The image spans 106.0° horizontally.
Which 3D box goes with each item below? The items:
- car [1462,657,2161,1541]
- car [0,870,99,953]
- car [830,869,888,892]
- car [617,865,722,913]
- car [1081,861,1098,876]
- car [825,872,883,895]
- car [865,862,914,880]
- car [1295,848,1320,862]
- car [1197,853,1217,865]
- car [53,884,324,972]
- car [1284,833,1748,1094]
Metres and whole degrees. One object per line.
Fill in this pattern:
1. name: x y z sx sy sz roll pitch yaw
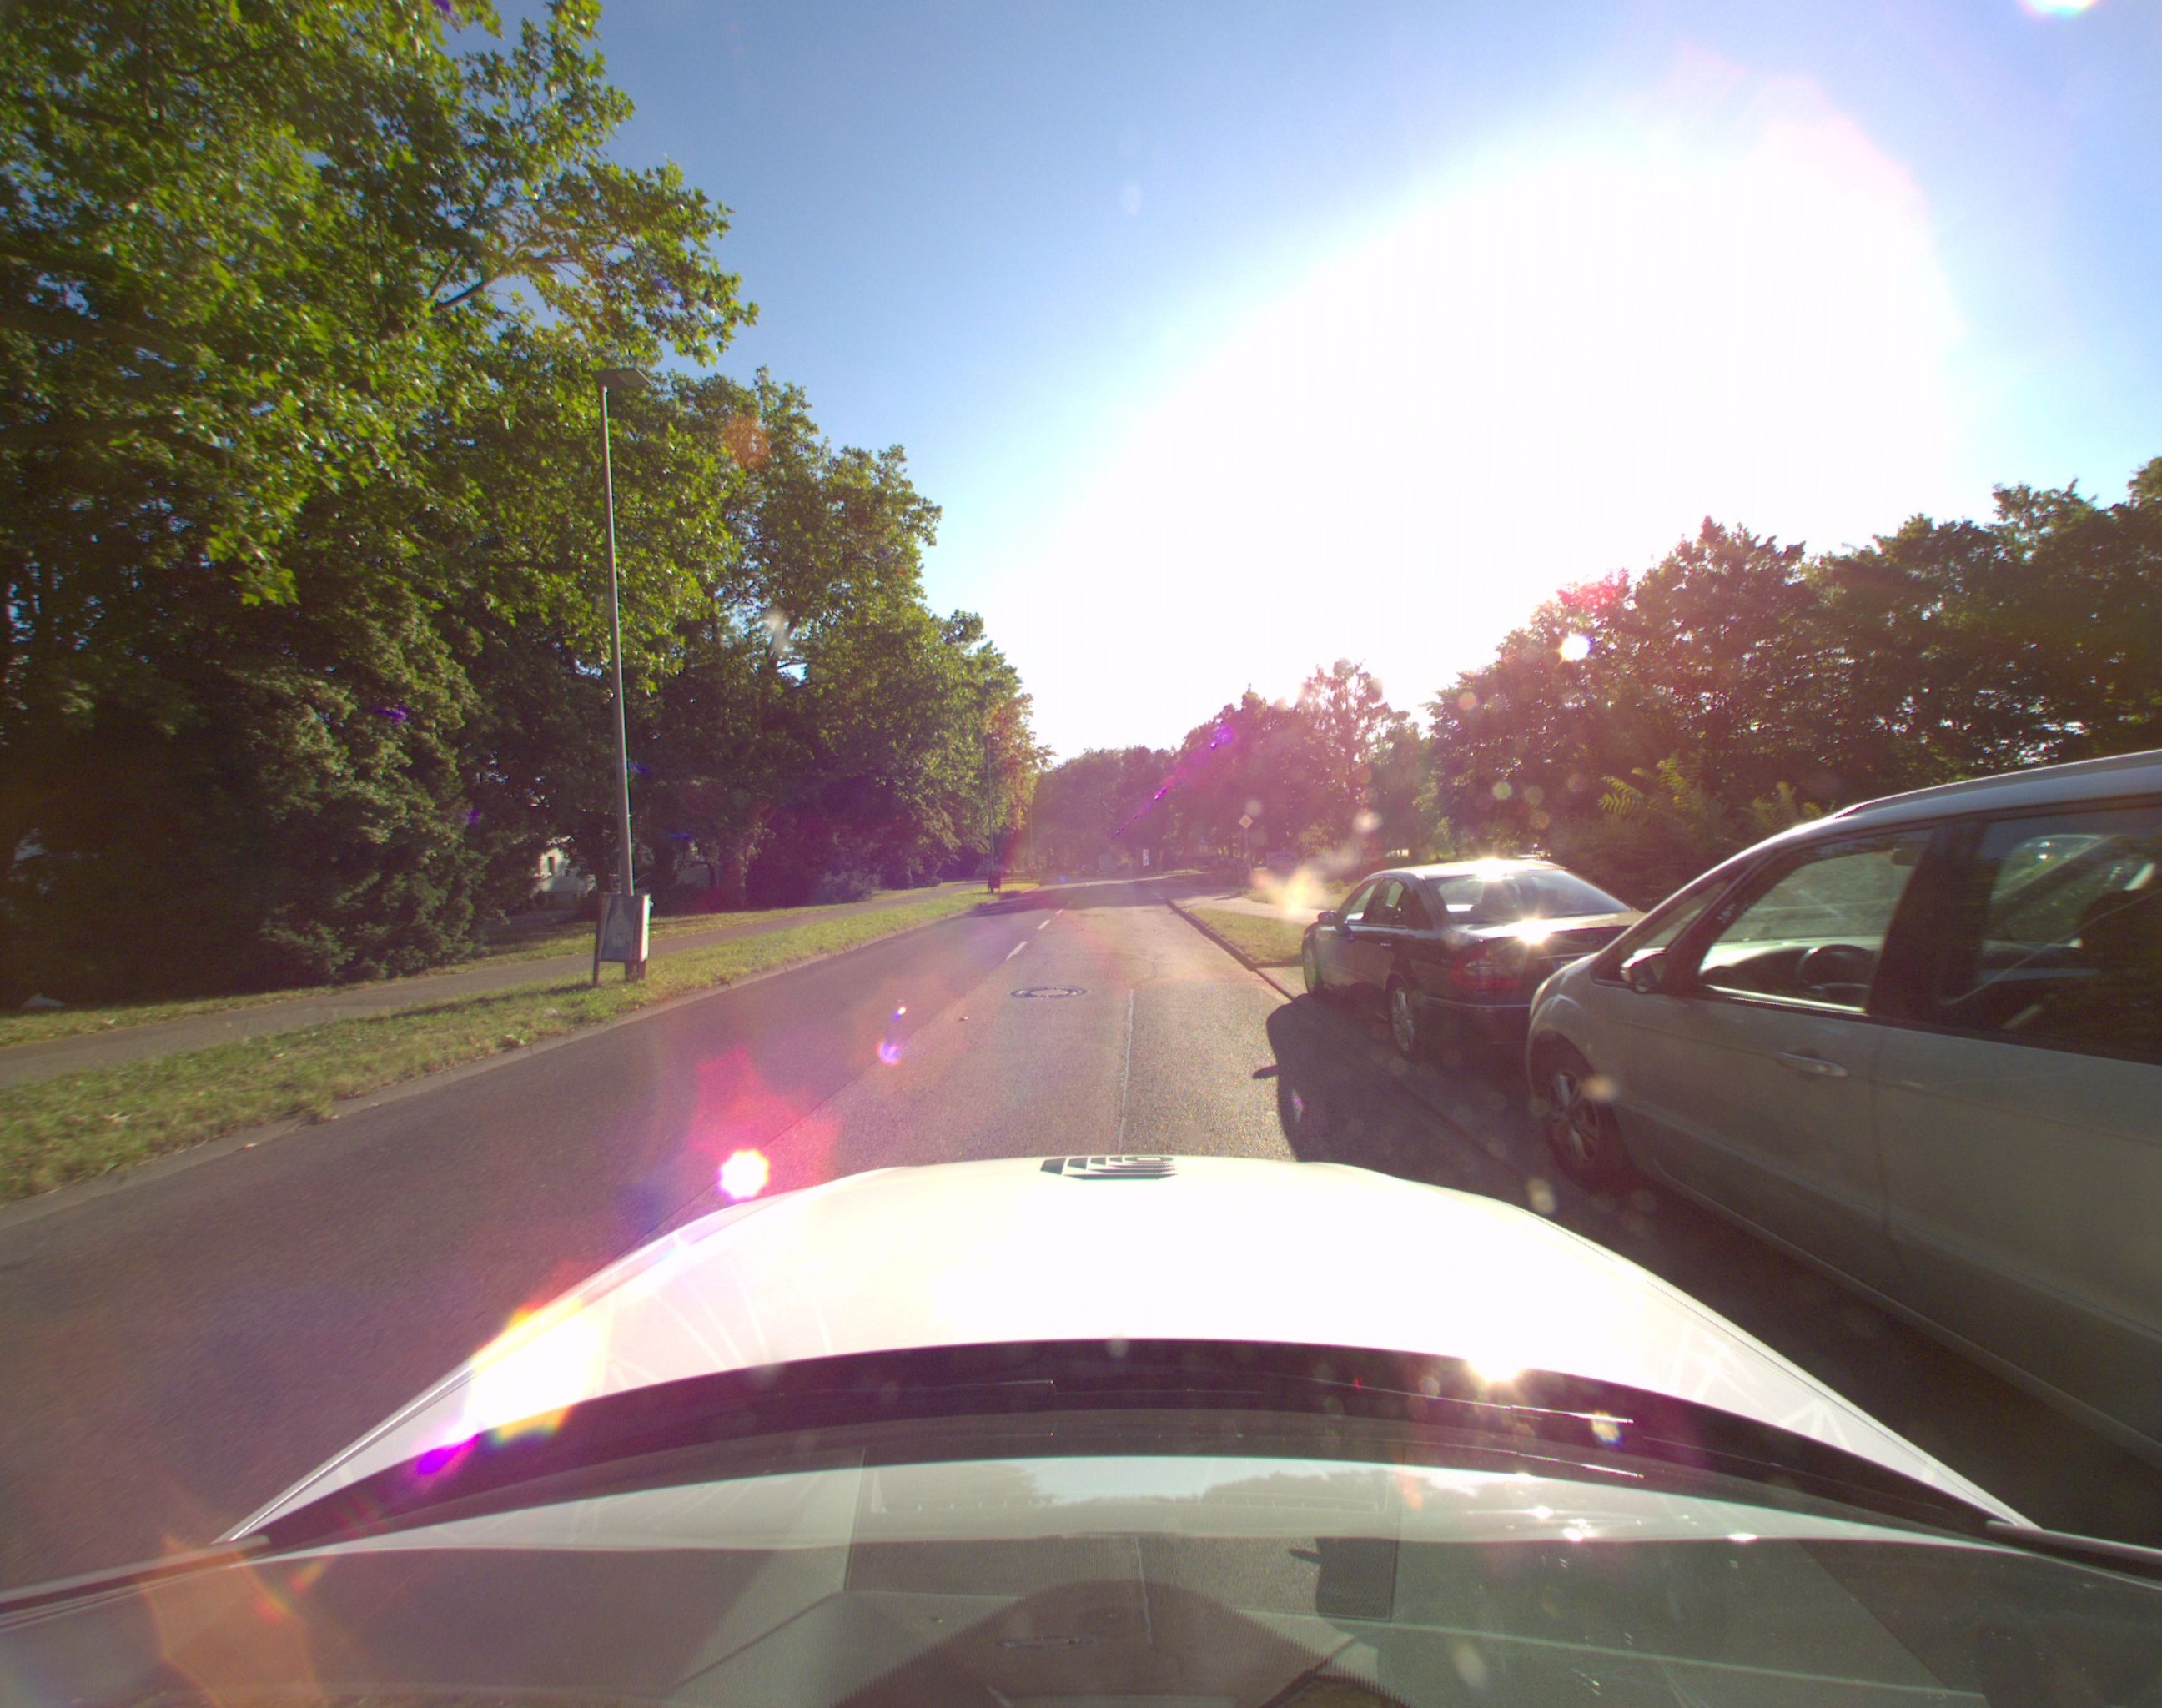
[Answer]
1. car: 3.139 0.455 2.208 1.986 1.759 4.919 -3 -1 2
2. car: -32.135 1.722 23.867 4.299 2.289 2.001 -2 -1 1
3. car: -17.537 2.096 64.395 4.120 1.596 1.949 -3 -1 -7
4. car: -19.589 1.626 38.905 3.983 2.044 1.904 -2 1 -7
5. car: 1.033 1.691 95.182 1.832 1.605 3.865 -3 0 2
6. car: -16.478 2.137 59.304 3.718 1.500 1.812 -2 -1 -3
7. car: -16.833 1.524 71.788 3.981 1.508 1.909 -1 -1 -5
8. car: 30.194 0.166 108.567 1.809 1.728 4.391 -3 0 -5
9. car: 16.601 0.650 107.229 1.837 1.420 3.997 -2 0 -2
10. car: -19.642 1.591 18.053 3.976 1.684 1.726 -2 -1 -2
11. car: 3.287 0.701 7.413 1.775 1.515 4.691 -3 -1 2
